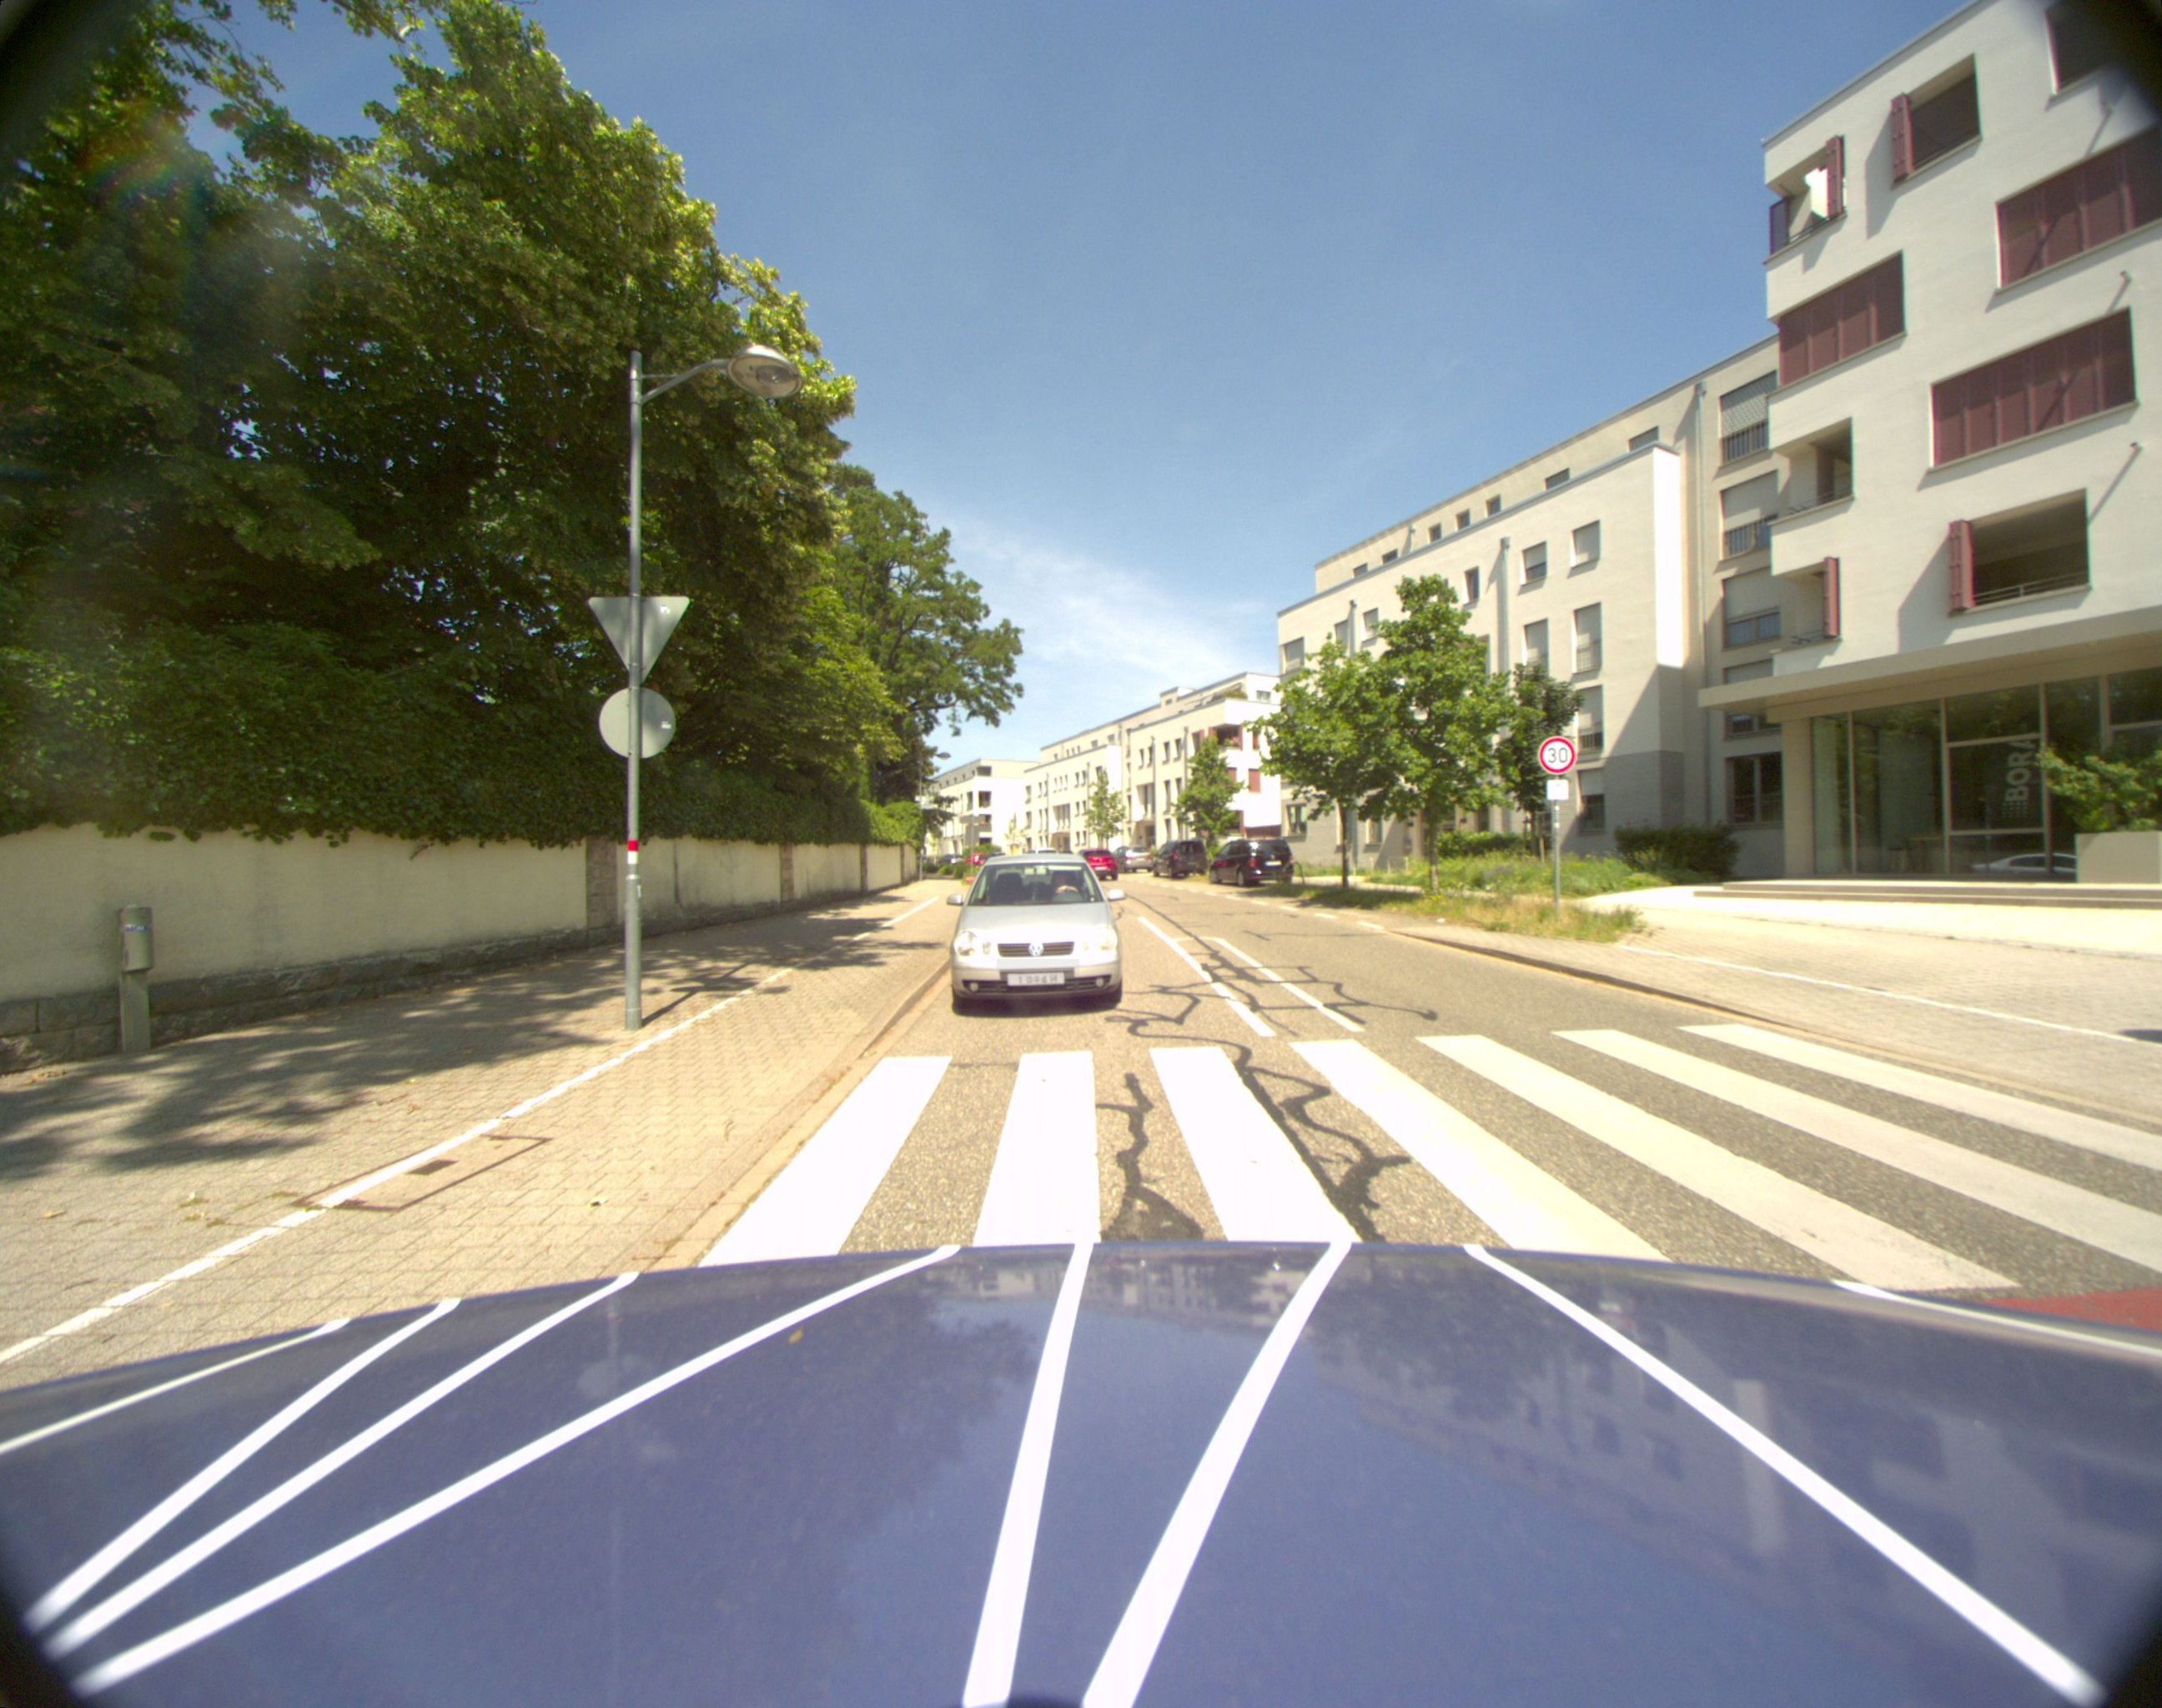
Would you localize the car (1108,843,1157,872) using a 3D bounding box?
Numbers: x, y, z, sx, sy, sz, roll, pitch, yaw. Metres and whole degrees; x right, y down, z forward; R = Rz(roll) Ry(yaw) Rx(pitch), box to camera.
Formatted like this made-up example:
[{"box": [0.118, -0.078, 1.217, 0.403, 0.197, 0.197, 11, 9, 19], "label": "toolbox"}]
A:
[{"box": [2.963, 0.177, 44.427, 1.792, 1.580, 3.622, -2, 1, -14], "label": "car"}]

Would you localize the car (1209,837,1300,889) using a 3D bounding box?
[{"box": [5.927, 0.261, 26.410, 1.700, 1.628, 4.017, -2, 1, -9], "label": "car"}]

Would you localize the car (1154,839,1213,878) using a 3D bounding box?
[{"box": [4.666, 0.182, 35.100, 1.700, 1.690, 3.624, -2, 1, -9], "label": "car"}]

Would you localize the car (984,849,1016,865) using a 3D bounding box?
[{"box": [-7.900, 0.285, 73.750, 1.710, 1.405, 3.712, -2, 1, -30], "label": "car"}]

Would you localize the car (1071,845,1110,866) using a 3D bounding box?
[{"box": [0.636, 0.095, 53.073, 1.708, 1.405, 3.622, -2, 1, -16], "label": "car"}]

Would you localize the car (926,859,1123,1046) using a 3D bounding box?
[{"box": [-0.489, 0.835, 8.357, 1.607, 1.443, 3.999, -2, 1, 0], "label": "car"}]

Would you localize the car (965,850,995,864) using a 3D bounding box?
[{"box": [-10.473, 0.320, 78.578, 1.710, 1.405, 3.712, -2, 1, -30], "label": "car"}]

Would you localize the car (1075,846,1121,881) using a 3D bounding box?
[{"box": [0.756, 0.426, 35.869, 1.756, 1.496, 3.990, -2, 0, -4], "label": "car"}]

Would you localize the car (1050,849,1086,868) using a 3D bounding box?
[{"box": [-1.019, 0.322, 58.554, 1.708, 1.405, 3.715, -2, 1, -19], "label": "car"}]

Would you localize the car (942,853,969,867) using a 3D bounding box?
[{"box": [-13.870, 0.662, 84.060, 1.710, 1.405, 3.712, -2, 1, -30], "label": "car"}]

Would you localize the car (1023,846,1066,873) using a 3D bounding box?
[{"box": [-2.396, 0.335, 48.845, 1.817, 1.599, 4.114, -2, 1, -16], "label": "car"}]
